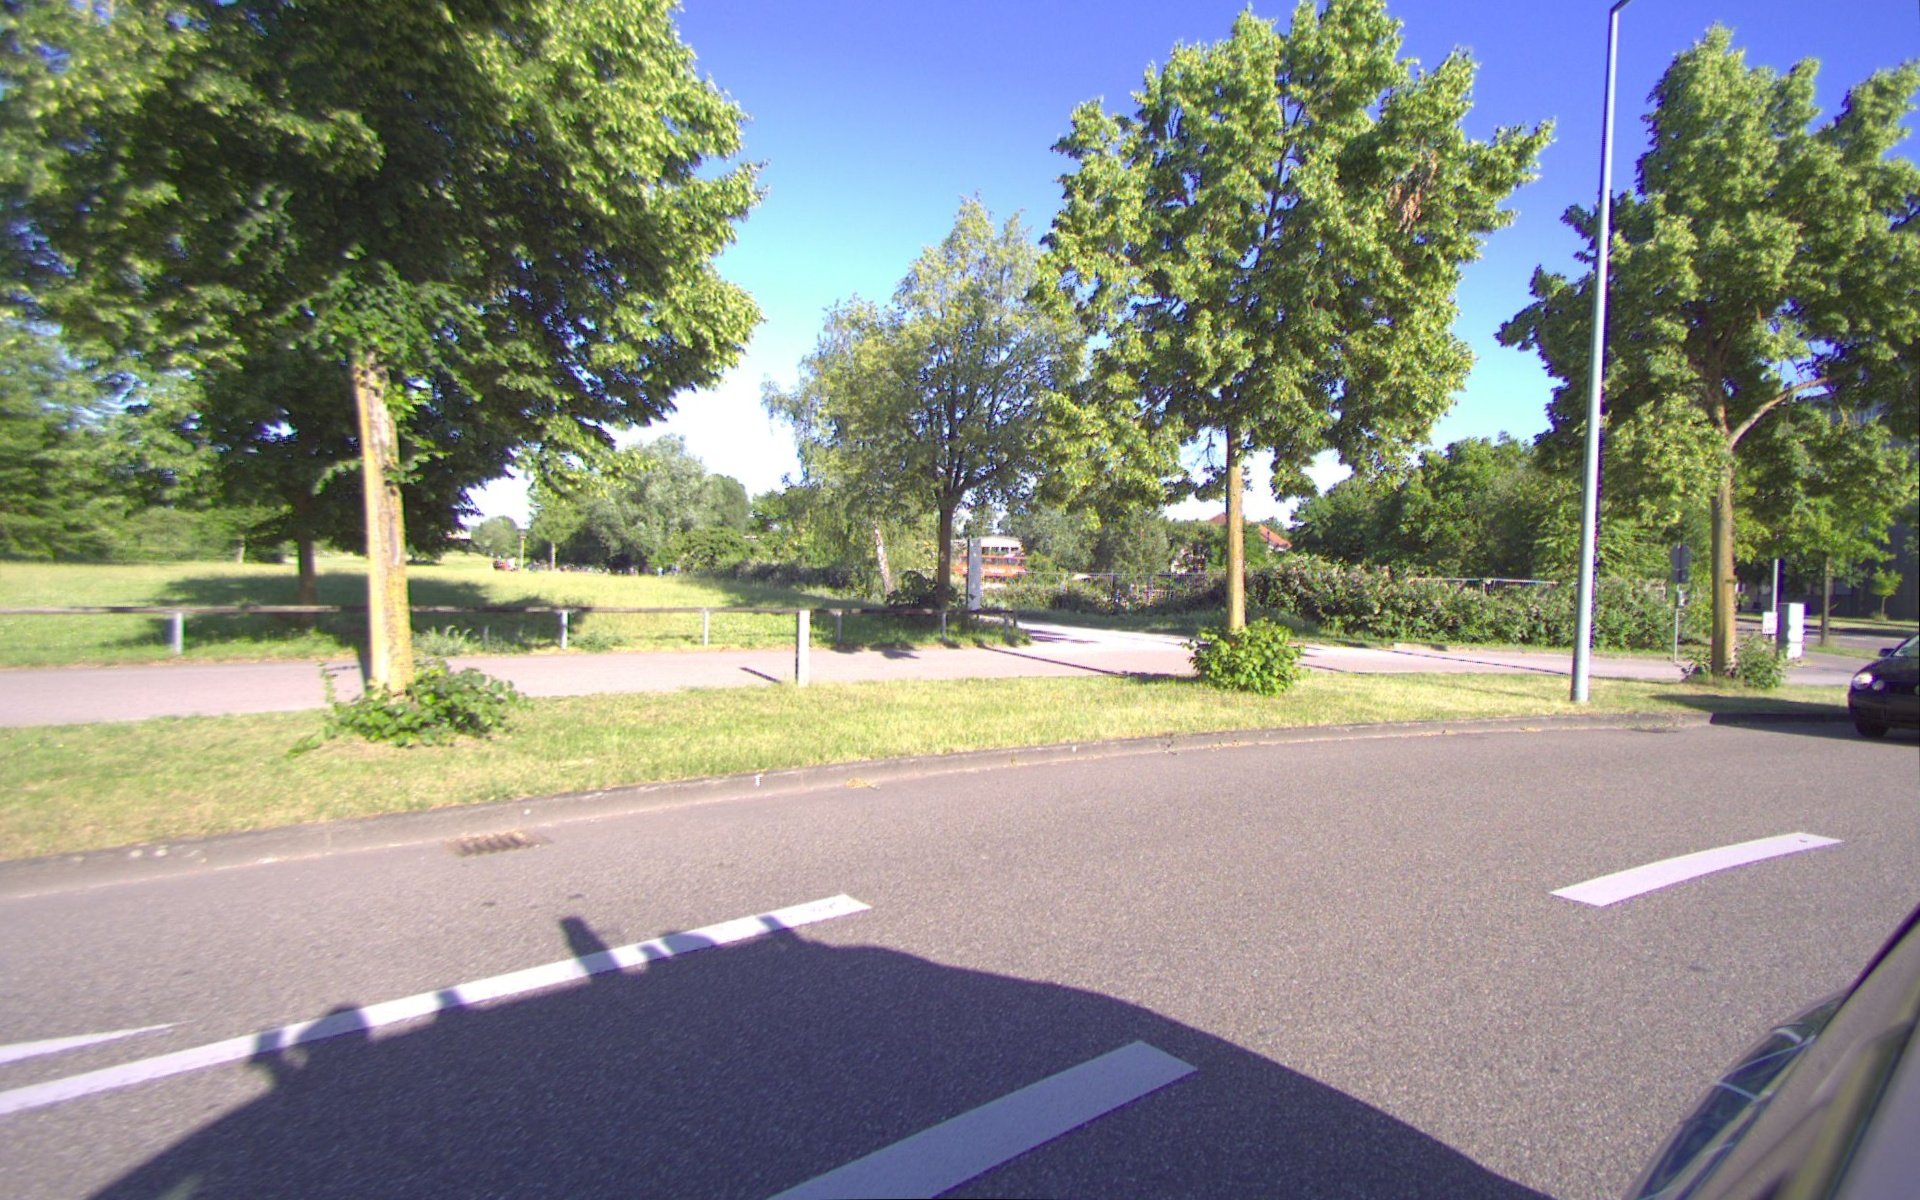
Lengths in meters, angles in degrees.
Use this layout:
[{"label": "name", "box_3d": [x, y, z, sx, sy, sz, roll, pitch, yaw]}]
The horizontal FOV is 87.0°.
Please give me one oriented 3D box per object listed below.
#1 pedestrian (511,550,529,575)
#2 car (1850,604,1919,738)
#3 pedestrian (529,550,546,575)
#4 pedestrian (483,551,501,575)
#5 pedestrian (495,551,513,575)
[{"label": "pedestrian", "box_3d": [-27.263, -2.317, 62.709, 0.760, 1.458, 0.793, 2, 1, 5]}, {"label": "car", "box_3d": [12.818, 0.836, 12.179, 4.453, 1.485, 1.641, 1, 1, -28]}, {"label": "pedestrian", "box_3d": [-26.029, -2.306, 62.290, 0.650, 1.458, 0.793, 2, 1, 5]}, {"label": "pedestrian", "box_3d": [-29.115, -2.316, 62.915, 0.675, 1.458, 0.793, 2, 1, 5]}, {"label": "pedestrian", "box_3d": [-28.125, -2.302, 62.464, 0.675, 1.458, 0.793, 2, 1, 5]}]
